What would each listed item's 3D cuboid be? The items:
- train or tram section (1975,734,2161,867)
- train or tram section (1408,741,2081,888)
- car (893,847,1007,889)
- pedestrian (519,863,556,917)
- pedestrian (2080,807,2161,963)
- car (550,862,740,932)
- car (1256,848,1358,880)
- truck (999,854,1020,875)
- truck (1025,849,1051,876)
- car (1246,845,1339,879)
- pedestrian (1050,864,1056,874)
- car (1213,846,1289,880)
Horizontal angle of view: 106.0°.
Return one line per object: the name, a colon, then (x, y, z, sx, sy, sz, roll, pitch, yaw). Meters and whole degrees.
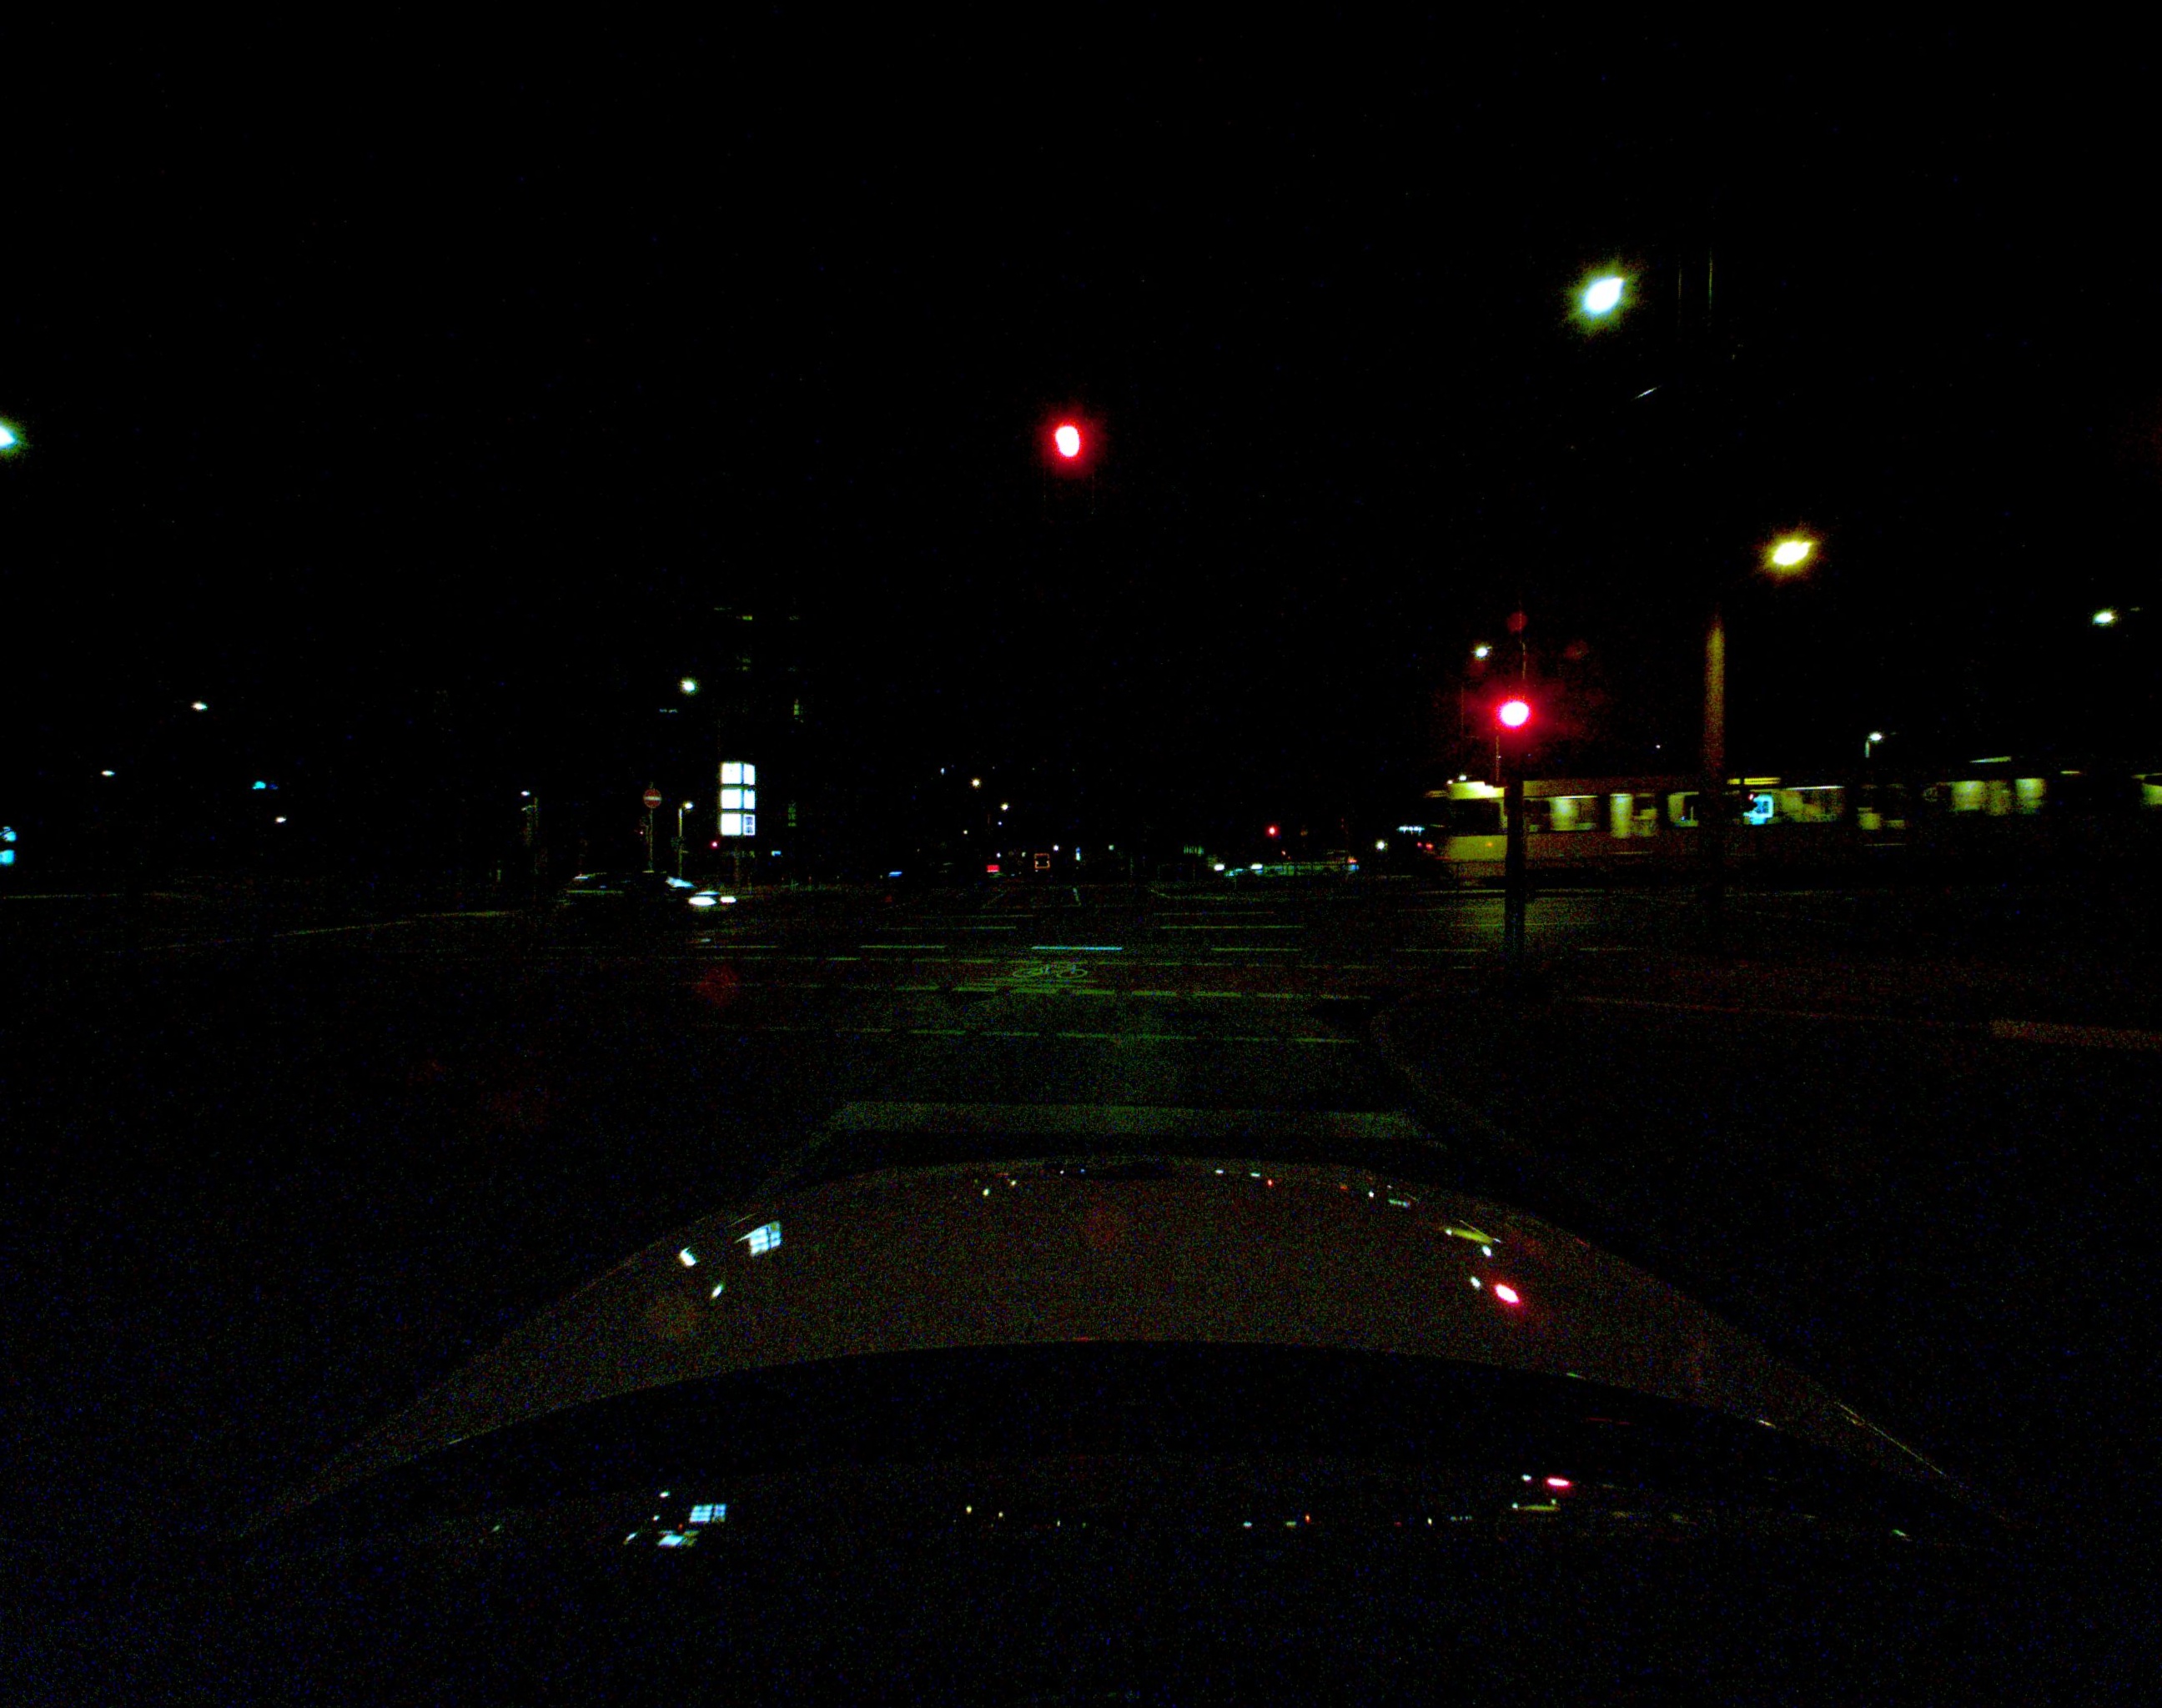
train or tram section: (38.947, -1.726, 24.708, 18.761, 3.850, 2.970, -1, -1, 5)
train or tram section: (20.494, -1.164, 26.297, 18.328, 3.849, 2.970, -2, 1, 5)
car: (-6.066, 0.662, 38.114, 4.919, 1.884, 1.872, 0, -1, 5)
pedestrian: (-17.704, 1.164, 26.523, 0.700, 1.722, 0.681, 0, -1, 10)
pedestrian: (11.884, 0.325, 8.955, 0.870, 1.656, 0.843, -7, -5, 42)
car: (-10.473, 1.012, 19.704, 3.669, 1.420, 1.645, -3, 0, 5)
car: (10.932, 0.481, 39.566, 4.553, 1.486, 1.781, 0, 0, 5)
truck: (-10.549, 1.540, 120.128, 2.419, 3.089, 6.412, 0, -1, -11)
truck: (-7.928, 1.543, 149.344, 3.366, 4.843, 7.866, 0, -1, -14)
car: (9.455, 0.373, 36.710, 3.817, 1.486, 1.871, 0, -1, 5)
pedestrian: (-5.131, 2.752, 147.976, 0.851, 1.912, 1.001, 0, -1, -16)
car: (8.949, 0.467, 43.056, 3.798, 1.631, 1.815, -2, 0, 7)
